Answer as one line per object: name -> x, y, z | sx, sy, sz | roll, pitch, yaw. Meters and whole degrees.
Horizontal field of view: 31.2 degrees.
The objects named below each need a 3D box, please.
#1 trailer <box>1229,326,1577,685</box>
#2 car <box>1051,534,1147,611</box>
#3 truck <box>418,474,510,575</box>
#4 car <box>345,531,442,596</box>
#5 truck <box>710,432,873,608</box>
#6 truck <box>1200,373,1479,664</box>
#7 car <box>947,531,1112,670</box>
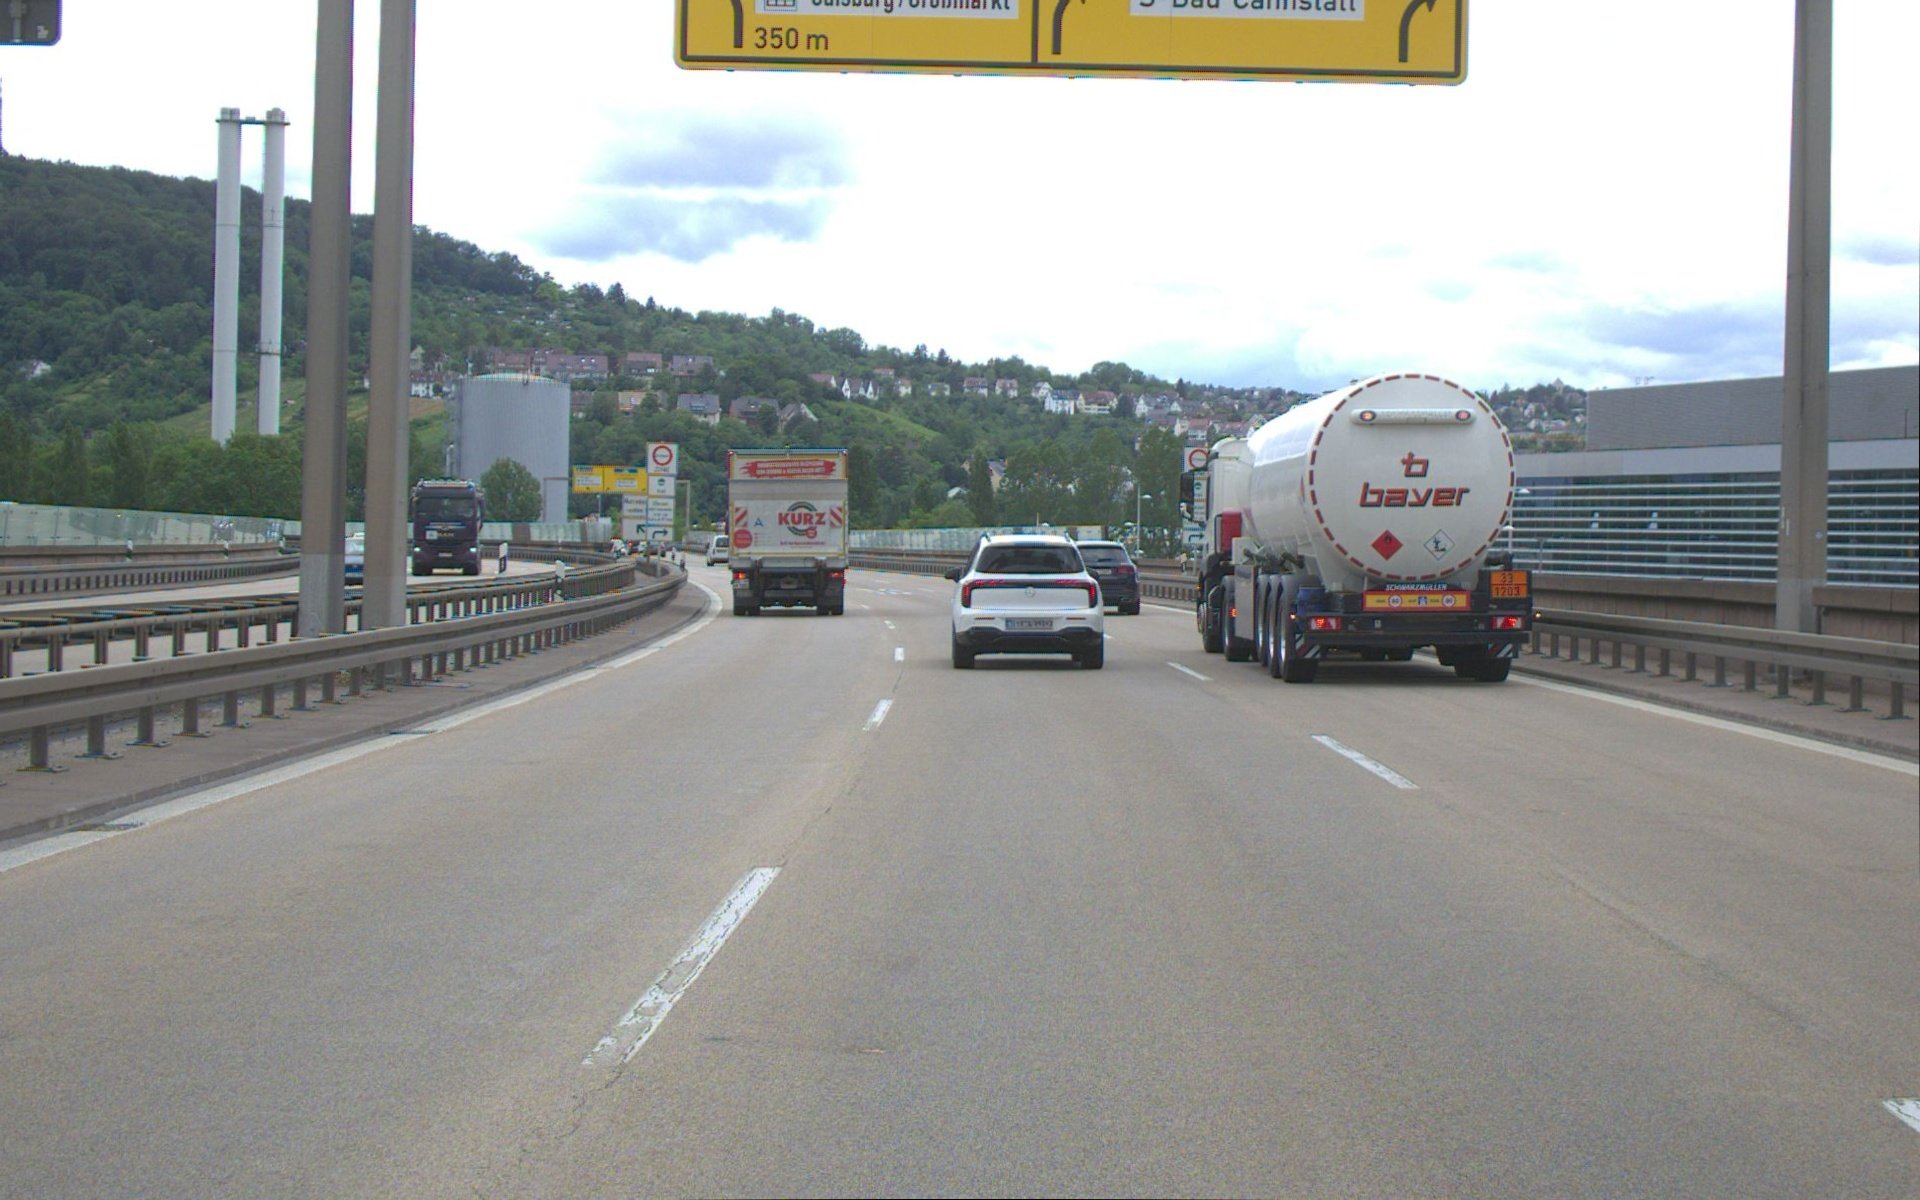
trailer -> 5.000, -1.032, 40.441 | 3.057, 3.777, 8.304 | 0, 0, 0
car -> 3.055, -0.606, 76.363 | 1.993, 1.669, 4.408 | 0, 0, 1
truck -> -19.445, -2.884, 135.341 | 2.810, 3.796, 12.022 | 0, 0, -5
car -> -15.027, -0.951, 91.400 | 1.993, 1.669, 4.408 | 0, 0, -2
truck -> -3.658, -1.712, 76.447 | 3.057, 3.678, 8.303 | 0, 0, 1
truck -> 5.001, -1.044, 46.489 | 3.014, 3.644, 6.273 | 0, 0, 0
car -> 0.835, -0.009, 43.836 | 1.993, 1.669, 4.408 | 0, 0, 0
